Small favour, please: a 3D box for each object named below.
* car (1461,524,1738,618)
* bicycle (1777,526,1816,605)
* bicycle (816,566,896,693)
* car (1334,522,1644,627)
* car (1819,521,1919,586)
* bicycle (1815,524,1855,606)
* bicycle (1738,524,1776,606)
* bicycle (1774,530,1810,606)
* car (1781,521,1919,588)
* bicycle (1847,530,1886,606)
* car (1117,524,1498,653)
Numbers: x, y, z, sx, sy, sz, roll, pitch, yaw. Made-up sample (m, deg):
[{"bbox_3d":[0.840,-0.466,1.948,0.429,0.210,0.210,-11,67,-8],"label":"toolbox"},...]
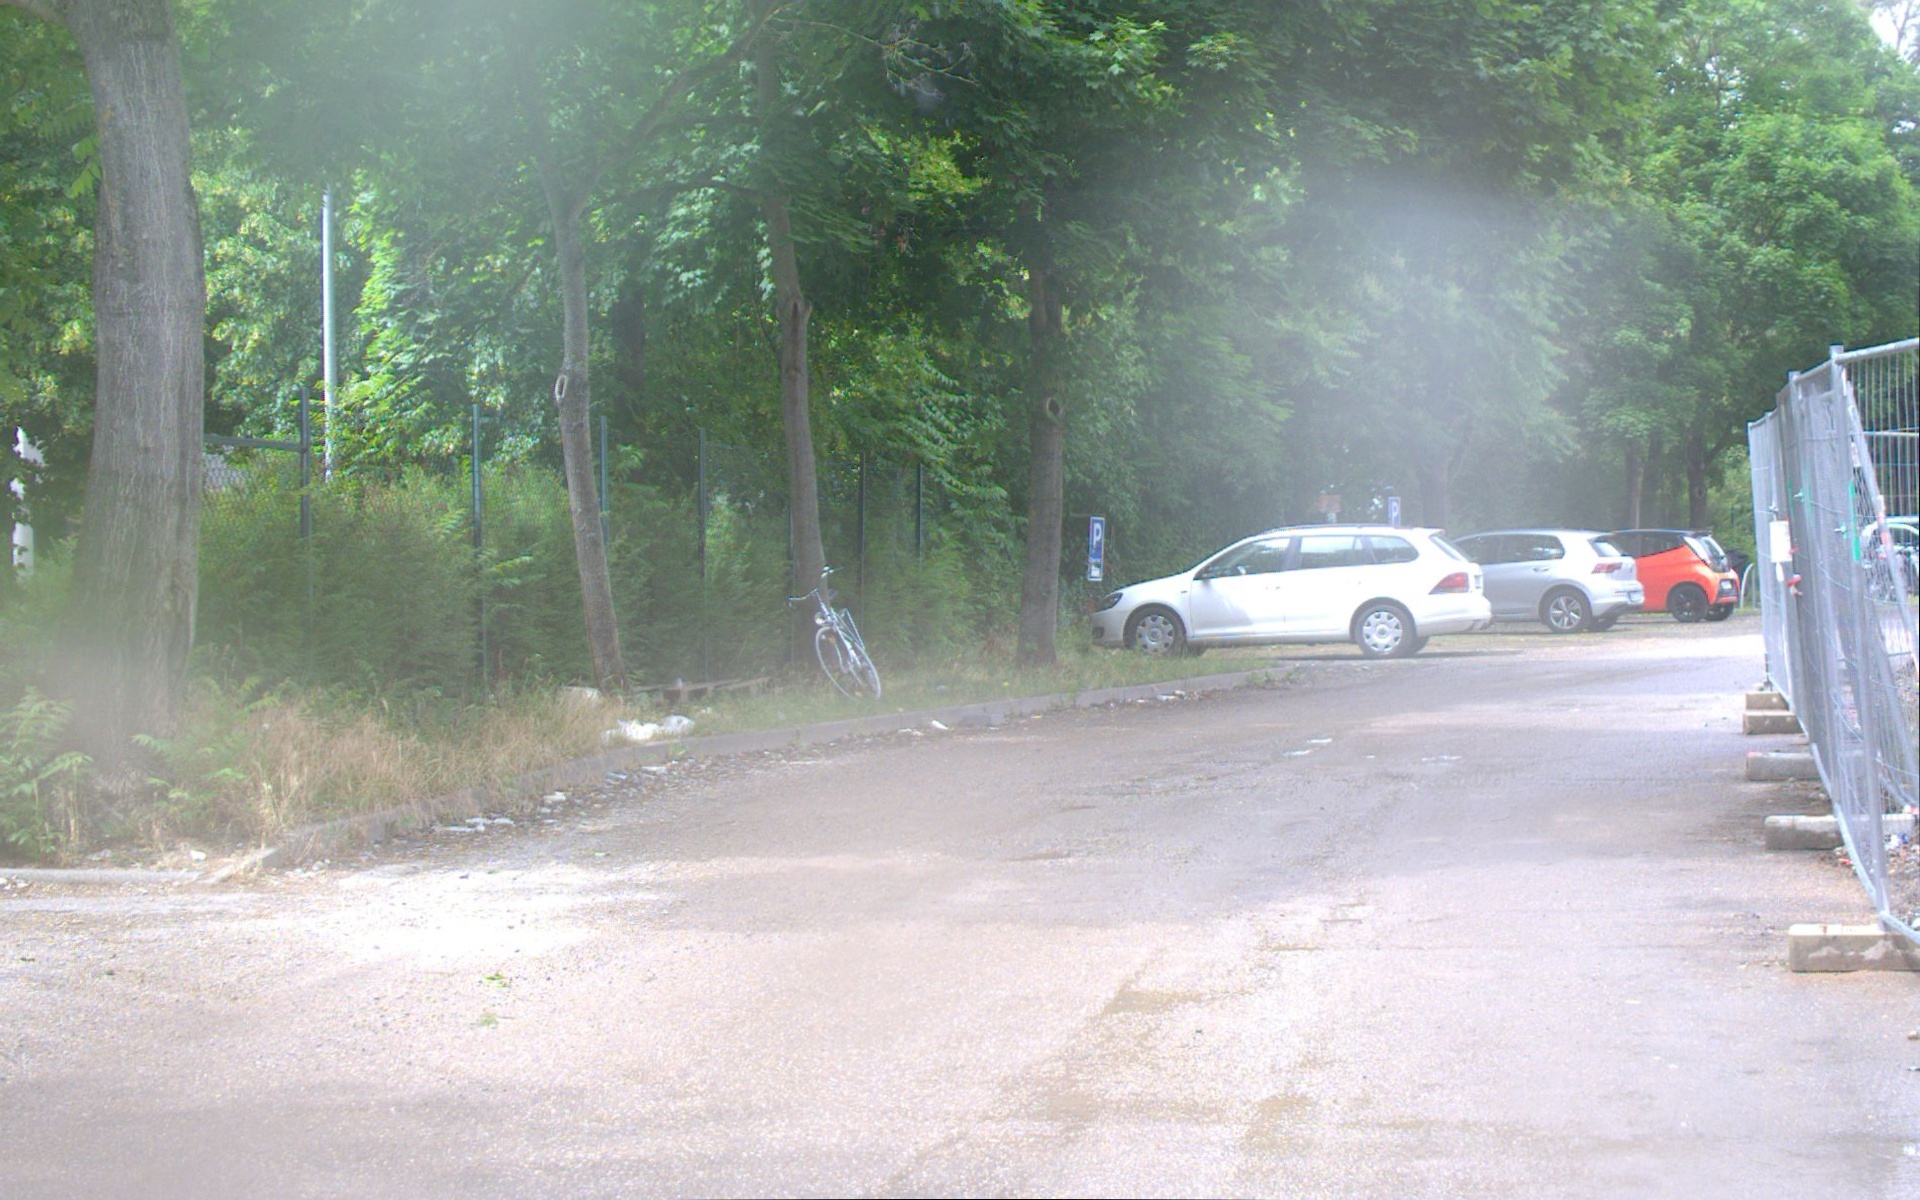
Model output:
[{"bbox_3d":[9.819,-0.441,52.704,4.037,1.404,1.980,0,0,15],"label":"car"},{"bbox_3d":[13.697,-0.546,56.338,0.596,1.262,2.667,0,0,13],"label":"bicycle"},{"bbox_3d":[-0.760,0.204,25.398,0.467,0.876,1.570,0,2,3],"label":"bicycle"},{"bbox_3d":[7.322,-0.338,47.440,4.037,1.404,1.980,0,0,15],"label":"car"},{"bbox_3d":[21.353,-1.030,76.524,4.040,1.404,1.979,0,0,25],"label":"car"},{"bbox_3d":[14.302,-0.559,56.222,0.596,1.304,2.667,0,0,13],"label":"bicycle"},{"bbox_3d":[13.090,-0.563,56.439,0.596,1.304,2.667,0,0,13],"label":"bicycle"},{"bbox_3d":[14.623,-0.552,60.446,0.596,1.304,2.667,0,0,13],"label":"bicycle"},{"bbox_3d":[20.007,-0.977,74.422,4.040,1.404,1.979,0,0,25],"label":"car"},{"bbox_3d":[15.845,-0.548,60.123,0.596,1.304,2.667,0,0,13],"label":"bicycle"},{"bbox_3d":[3.968,-0.127,38.988,4.037,1.404,1.980,0,0,15],"label":"car"}]
